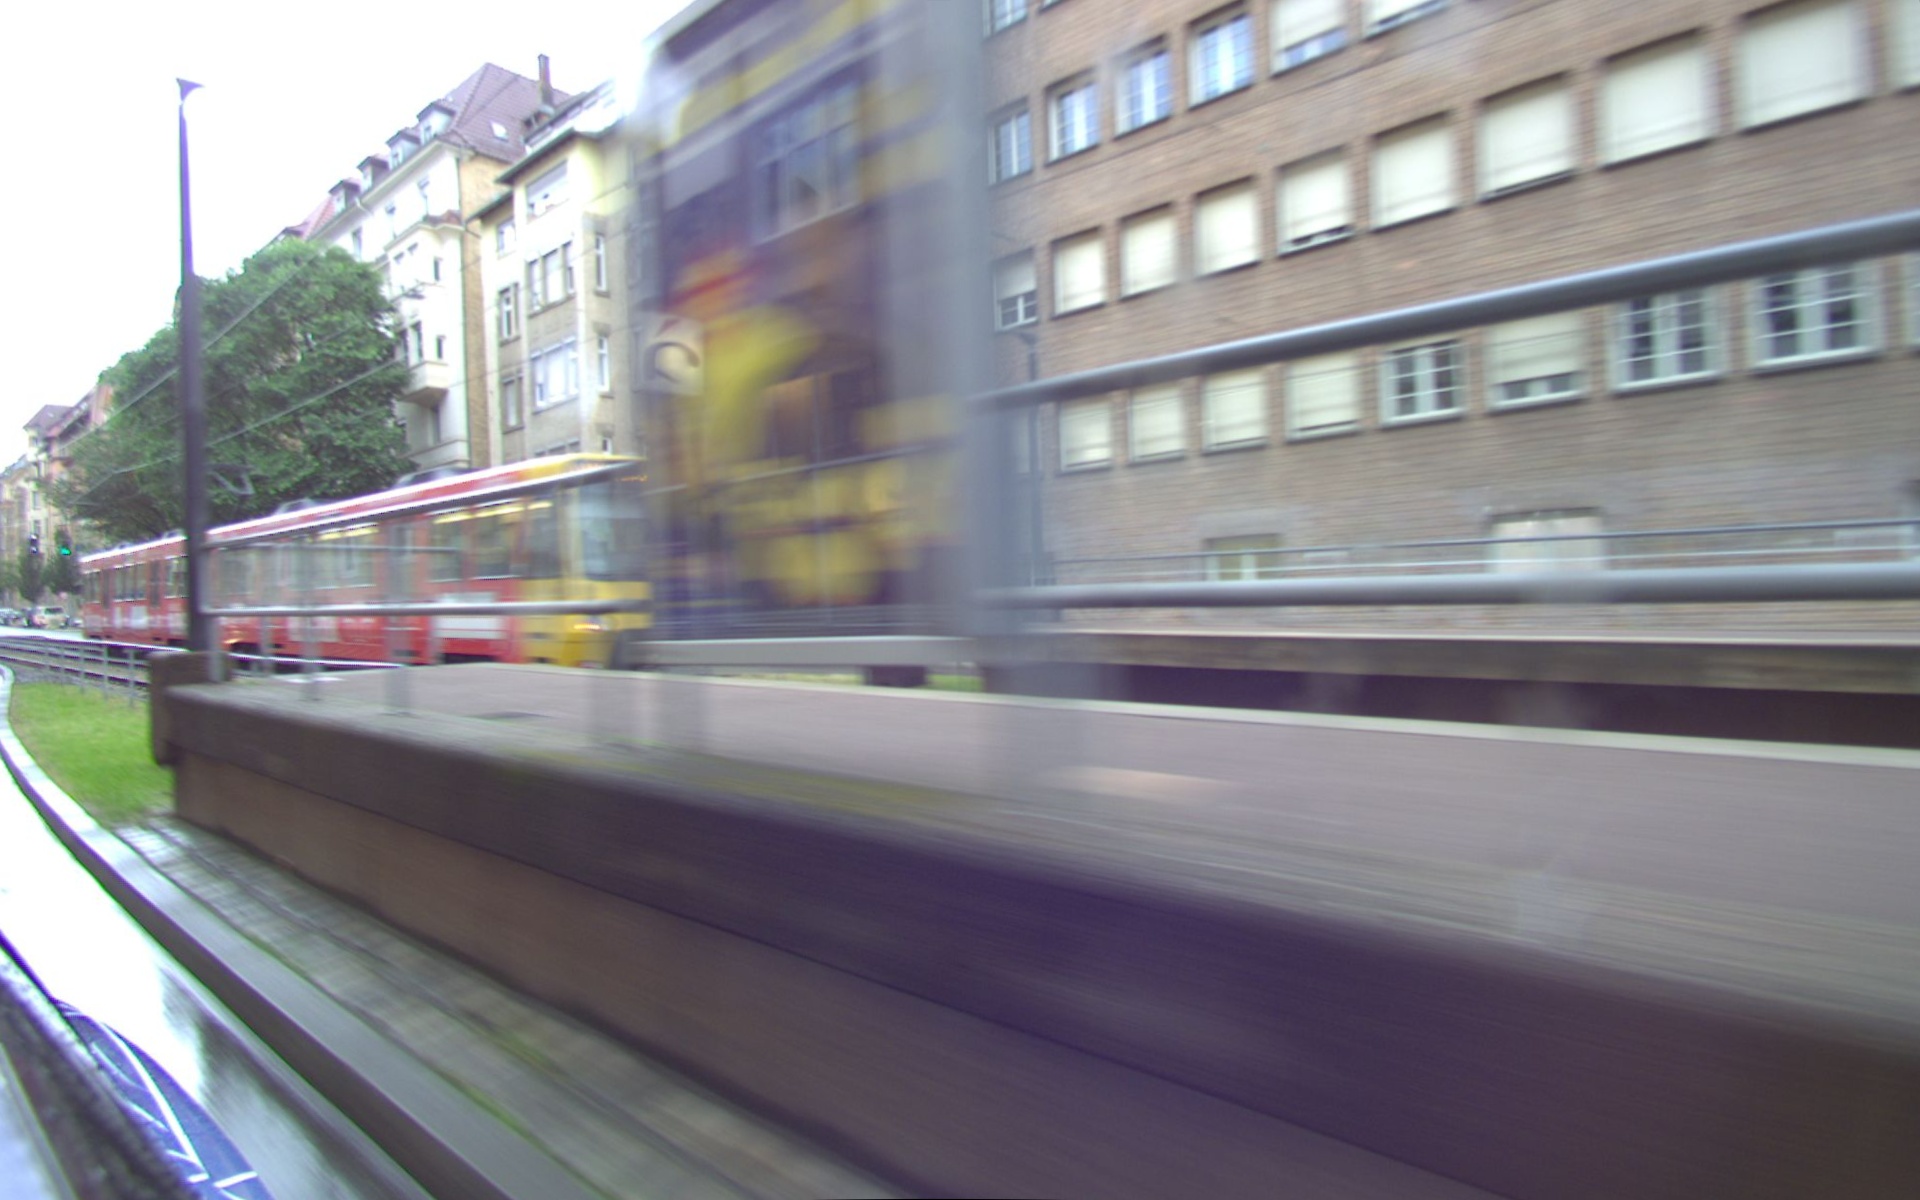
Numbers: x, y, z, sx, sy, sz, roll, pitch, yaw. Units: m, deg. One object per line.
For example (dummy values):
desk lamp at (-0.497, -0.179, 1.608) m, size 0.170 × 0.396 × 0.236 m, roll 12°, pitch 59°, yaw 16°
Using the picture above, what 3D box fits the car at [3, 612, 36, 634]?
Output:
car at (-91.526, 2.230, 98.483) m, size 3.998 × 1.984 × 1.973 m, roll -1°, pitch -1°, yaw 41°

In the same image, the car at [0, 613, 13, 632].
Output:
car at (-103.720, 2.409, 109.119) m, size 3.998 × 1.984 × 1.973 m, roll -1°, pitch -1°, yaw 41°

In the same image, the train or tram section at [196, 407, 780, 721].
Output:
train or tram section at (-11.028, -0.370, 20.250) m, size 19.850 × 3.950 × 2.687 m, roll -1°, pitch 0°, yaw 41°

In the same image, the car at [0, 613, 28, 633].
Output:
car at (-95.716, 2.290, 102.196) m, size 3.998 × 1.984 × 1.973 m, roll -1°, pitch -1°, yaw 41°

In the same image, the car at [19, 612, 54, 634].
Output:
car at (-85.872, 2.145, 94.126) m, size 3.998 × 1.984 × 1.973 m, roll -1°, pitch -1°, yaw 41°

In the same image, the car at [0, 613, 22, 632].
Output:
car at (-99.149, 2.340, 105.175) m, size 3.998 × 1.984 × 1.973 m, roll -1°, pitch -1°, yaw 41°

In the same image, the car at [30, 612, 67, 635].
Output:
car at (-80.418, 2.067, 89.299) m, size 3.998 × 1.984 × 1.973 m, roll -1°, pitch -1°, yaw 41°

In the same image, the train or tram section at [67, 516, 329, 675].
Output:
train or tram section at (-25.185, -0.036, 32.526) m, size 19.286 × 3.950 × 2.687 m, roll -1°, pitch 0°, yaw 41°
